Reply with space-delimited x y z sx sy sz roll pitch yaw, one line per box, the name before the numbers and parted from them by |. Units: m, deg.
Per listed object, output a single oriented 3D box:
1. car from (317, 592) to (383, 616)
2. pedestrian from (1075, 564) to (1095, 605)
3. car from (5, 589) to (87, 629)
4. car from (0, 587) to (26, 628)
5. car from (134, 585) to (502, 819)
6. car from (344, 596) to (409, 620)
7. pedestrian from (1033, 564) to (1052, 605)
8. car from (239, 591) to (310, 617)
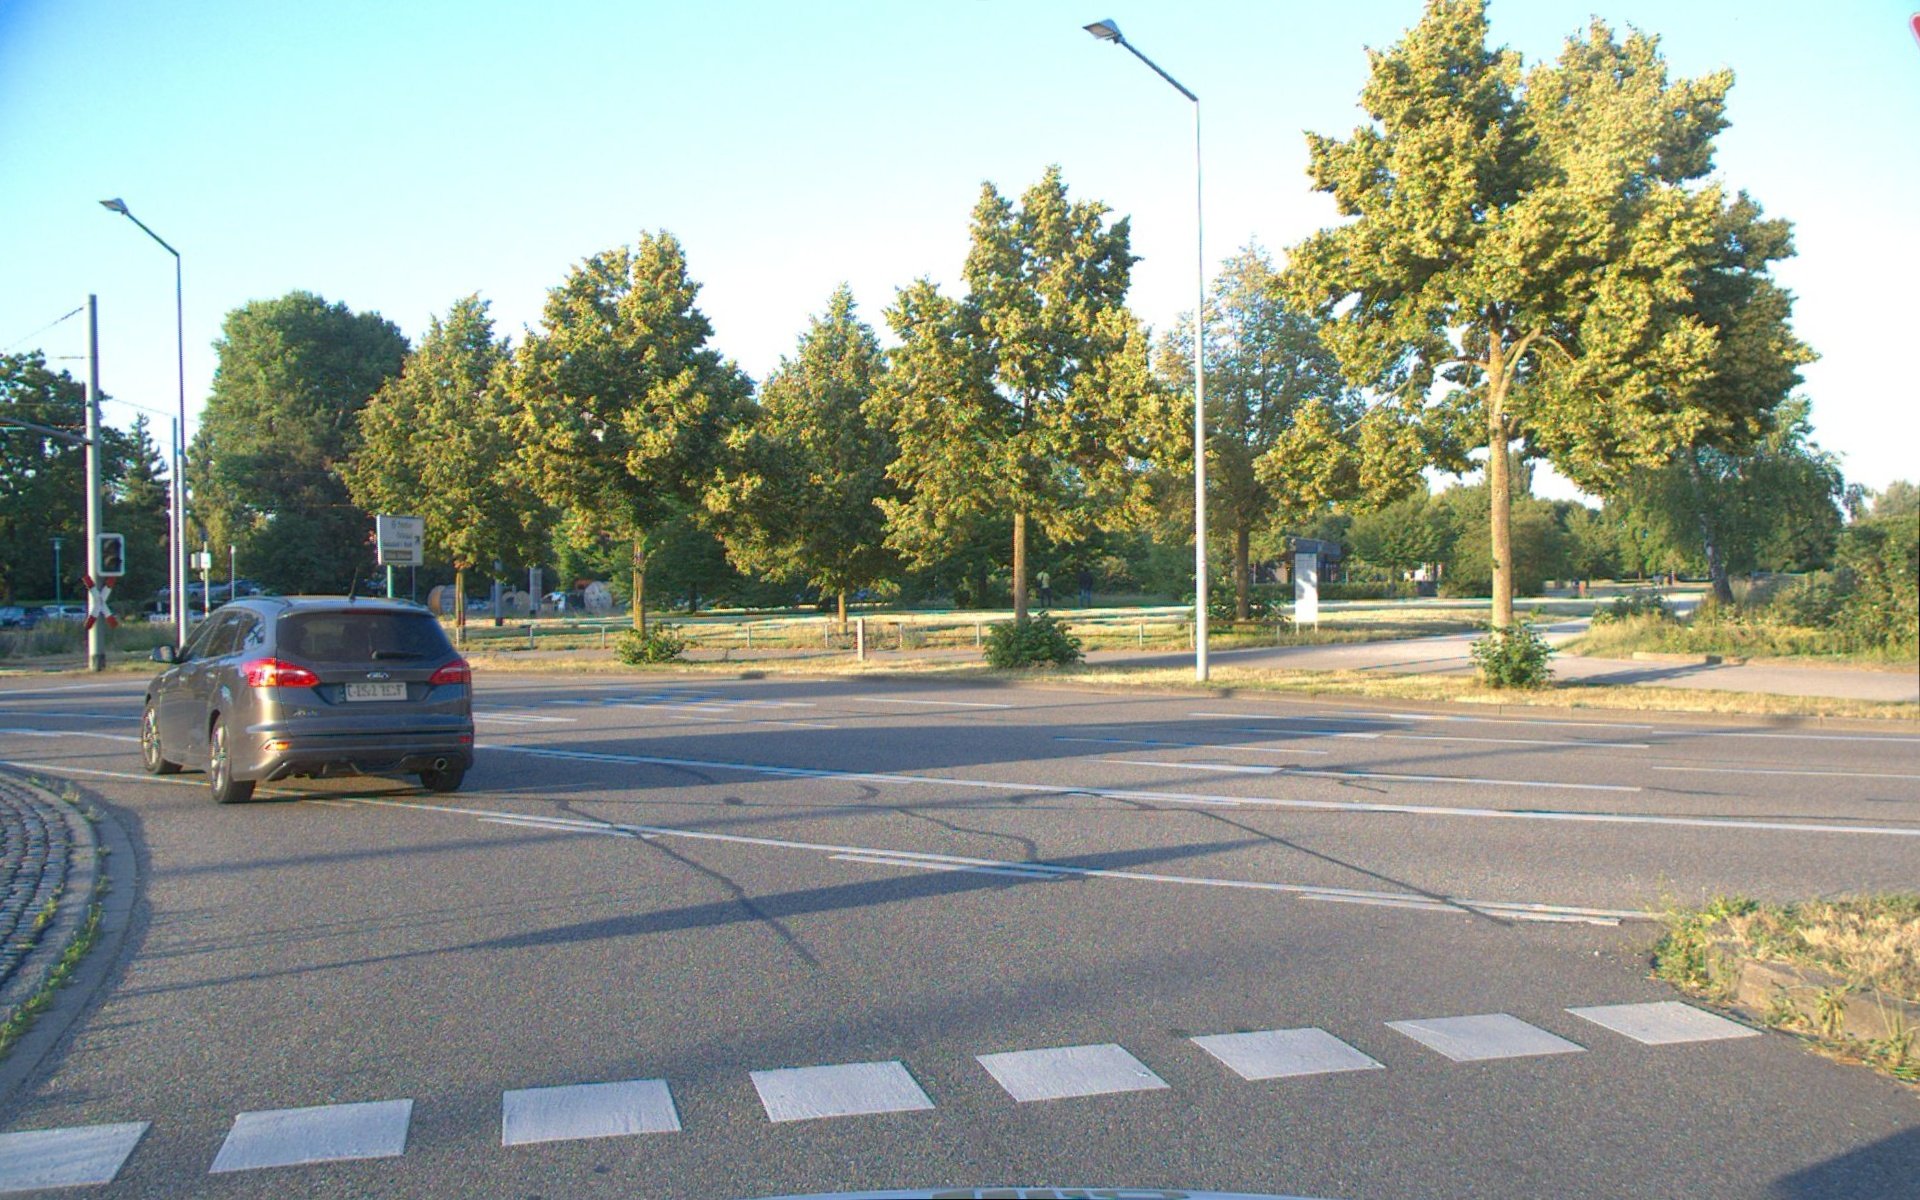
car | -41.650 0.277 112.861 3.906 1.578 2.000 -1 1 23
pedestrian | 5.086 -0.649 67.521 0.614 1.655 0.523 -1 1 -39
car | -50.701 0.494 91.731 3.906 2.135 1.999 -1 1 24
car | -52.337 0.430 88.628 3.906 2.135 1.999 -1 1 24
car | -5.194 0.659 13.049 1.732 1.492 4.083 -2 1 -36
car | -40.484 0.557 114.791 3.906 1.578 2.000 -1 1 23
pedestrian | 3.378 -0.642 67.699 0.571 1.655 0.529 -1 0 -23
car | -44.066 0.248 106.308 3.906 1.578 2.000 -1 1 23
